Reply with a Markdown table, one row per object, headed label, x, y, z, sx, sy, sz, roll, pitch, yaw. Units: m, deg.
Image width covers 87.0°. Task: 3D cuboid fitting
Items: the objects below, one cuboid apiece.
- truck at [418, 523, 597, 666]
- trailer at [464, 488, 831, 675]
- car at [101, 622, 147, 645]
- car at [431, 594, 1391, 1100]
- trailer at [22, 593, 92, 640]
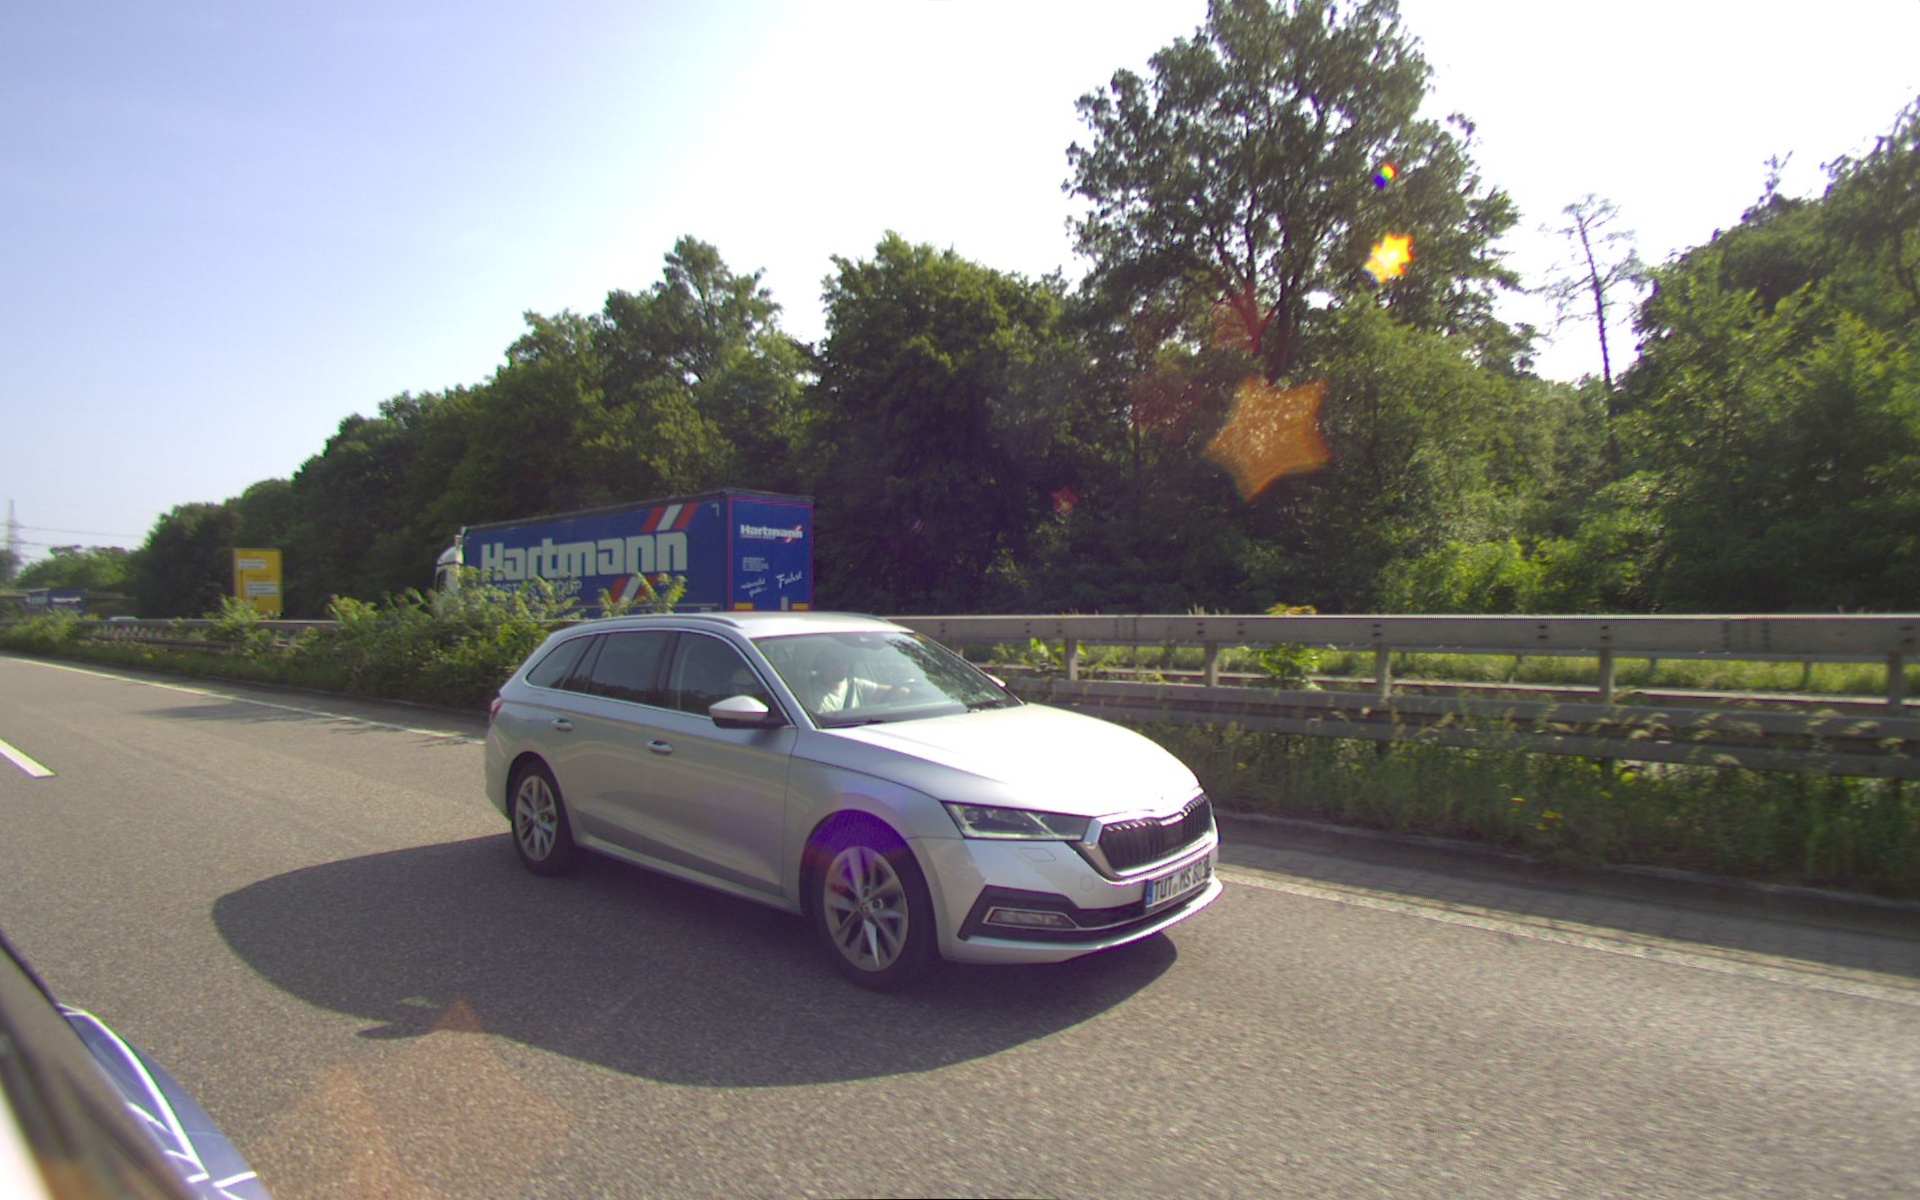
| label | x | y | z | sx | sy | sz | roll | pitch | yaw |
| --- | --- | --- | --- | --- | --- | --- | --- | --- | --- |
| truck | -14.339 | -0.073 | 31.905 | 6.022 | 4.063 | 2.862 | -1 | -3 | 41 |
| trailer | -8.995 | -0.242 | 27.260 | 13.316 | 4.039 | 2.862 | -1 | -3 | 41 |
| car | -58.529 | 2.350 | 70.807 | 4.808 | 1.476 | 1.733 | -2 | 1 | 41 |
| car | -0.758 | 0.766 | 5.318 | 5.275 | 1.449 | 1.774 | -2 | -1 | 41 |
| trailer | -83.405 | 1.594 | 93.353 | 14.307 | 4.101 | 2.935 | -2 | -2 | 41 |
